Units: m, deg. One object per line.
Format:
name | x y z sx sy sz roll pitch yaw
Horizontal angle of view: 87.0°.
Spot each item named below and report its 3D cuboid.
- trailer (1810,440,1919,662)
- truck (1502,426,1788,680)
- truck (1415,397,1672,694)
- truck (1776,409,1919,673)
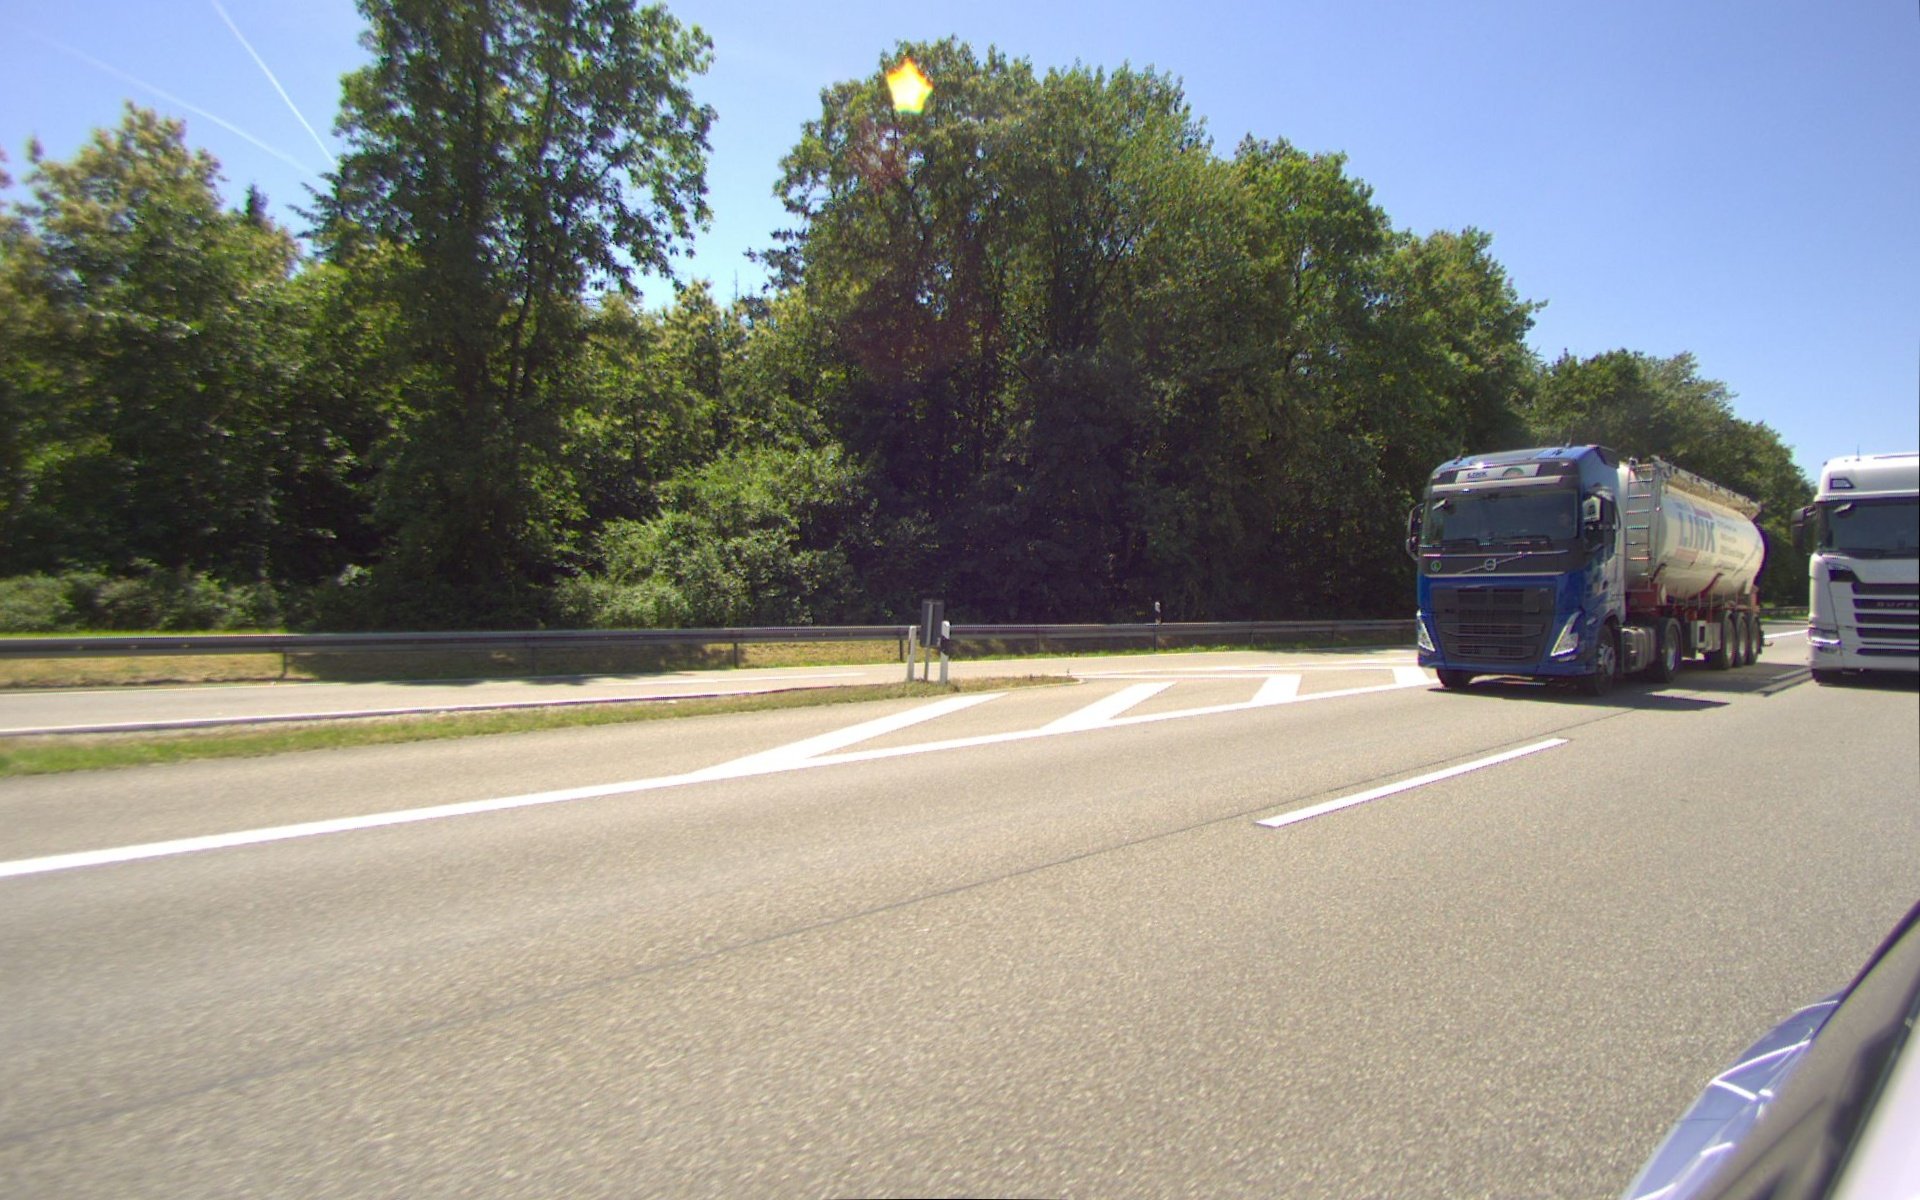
trailer | 22.563 -0.932 23.285 12.144 4.195 3.227 0 1 -44
truck | 14.356 -0.804 20.675 10.361 4.094 2.446 0 1 -42
truck | 9.392 -0.771 16.196 4.002 4.089 2.453 0 0 -42
truck | 16.838 -0.942 17.809 4.483 4.210 3.232 0 1 -43
